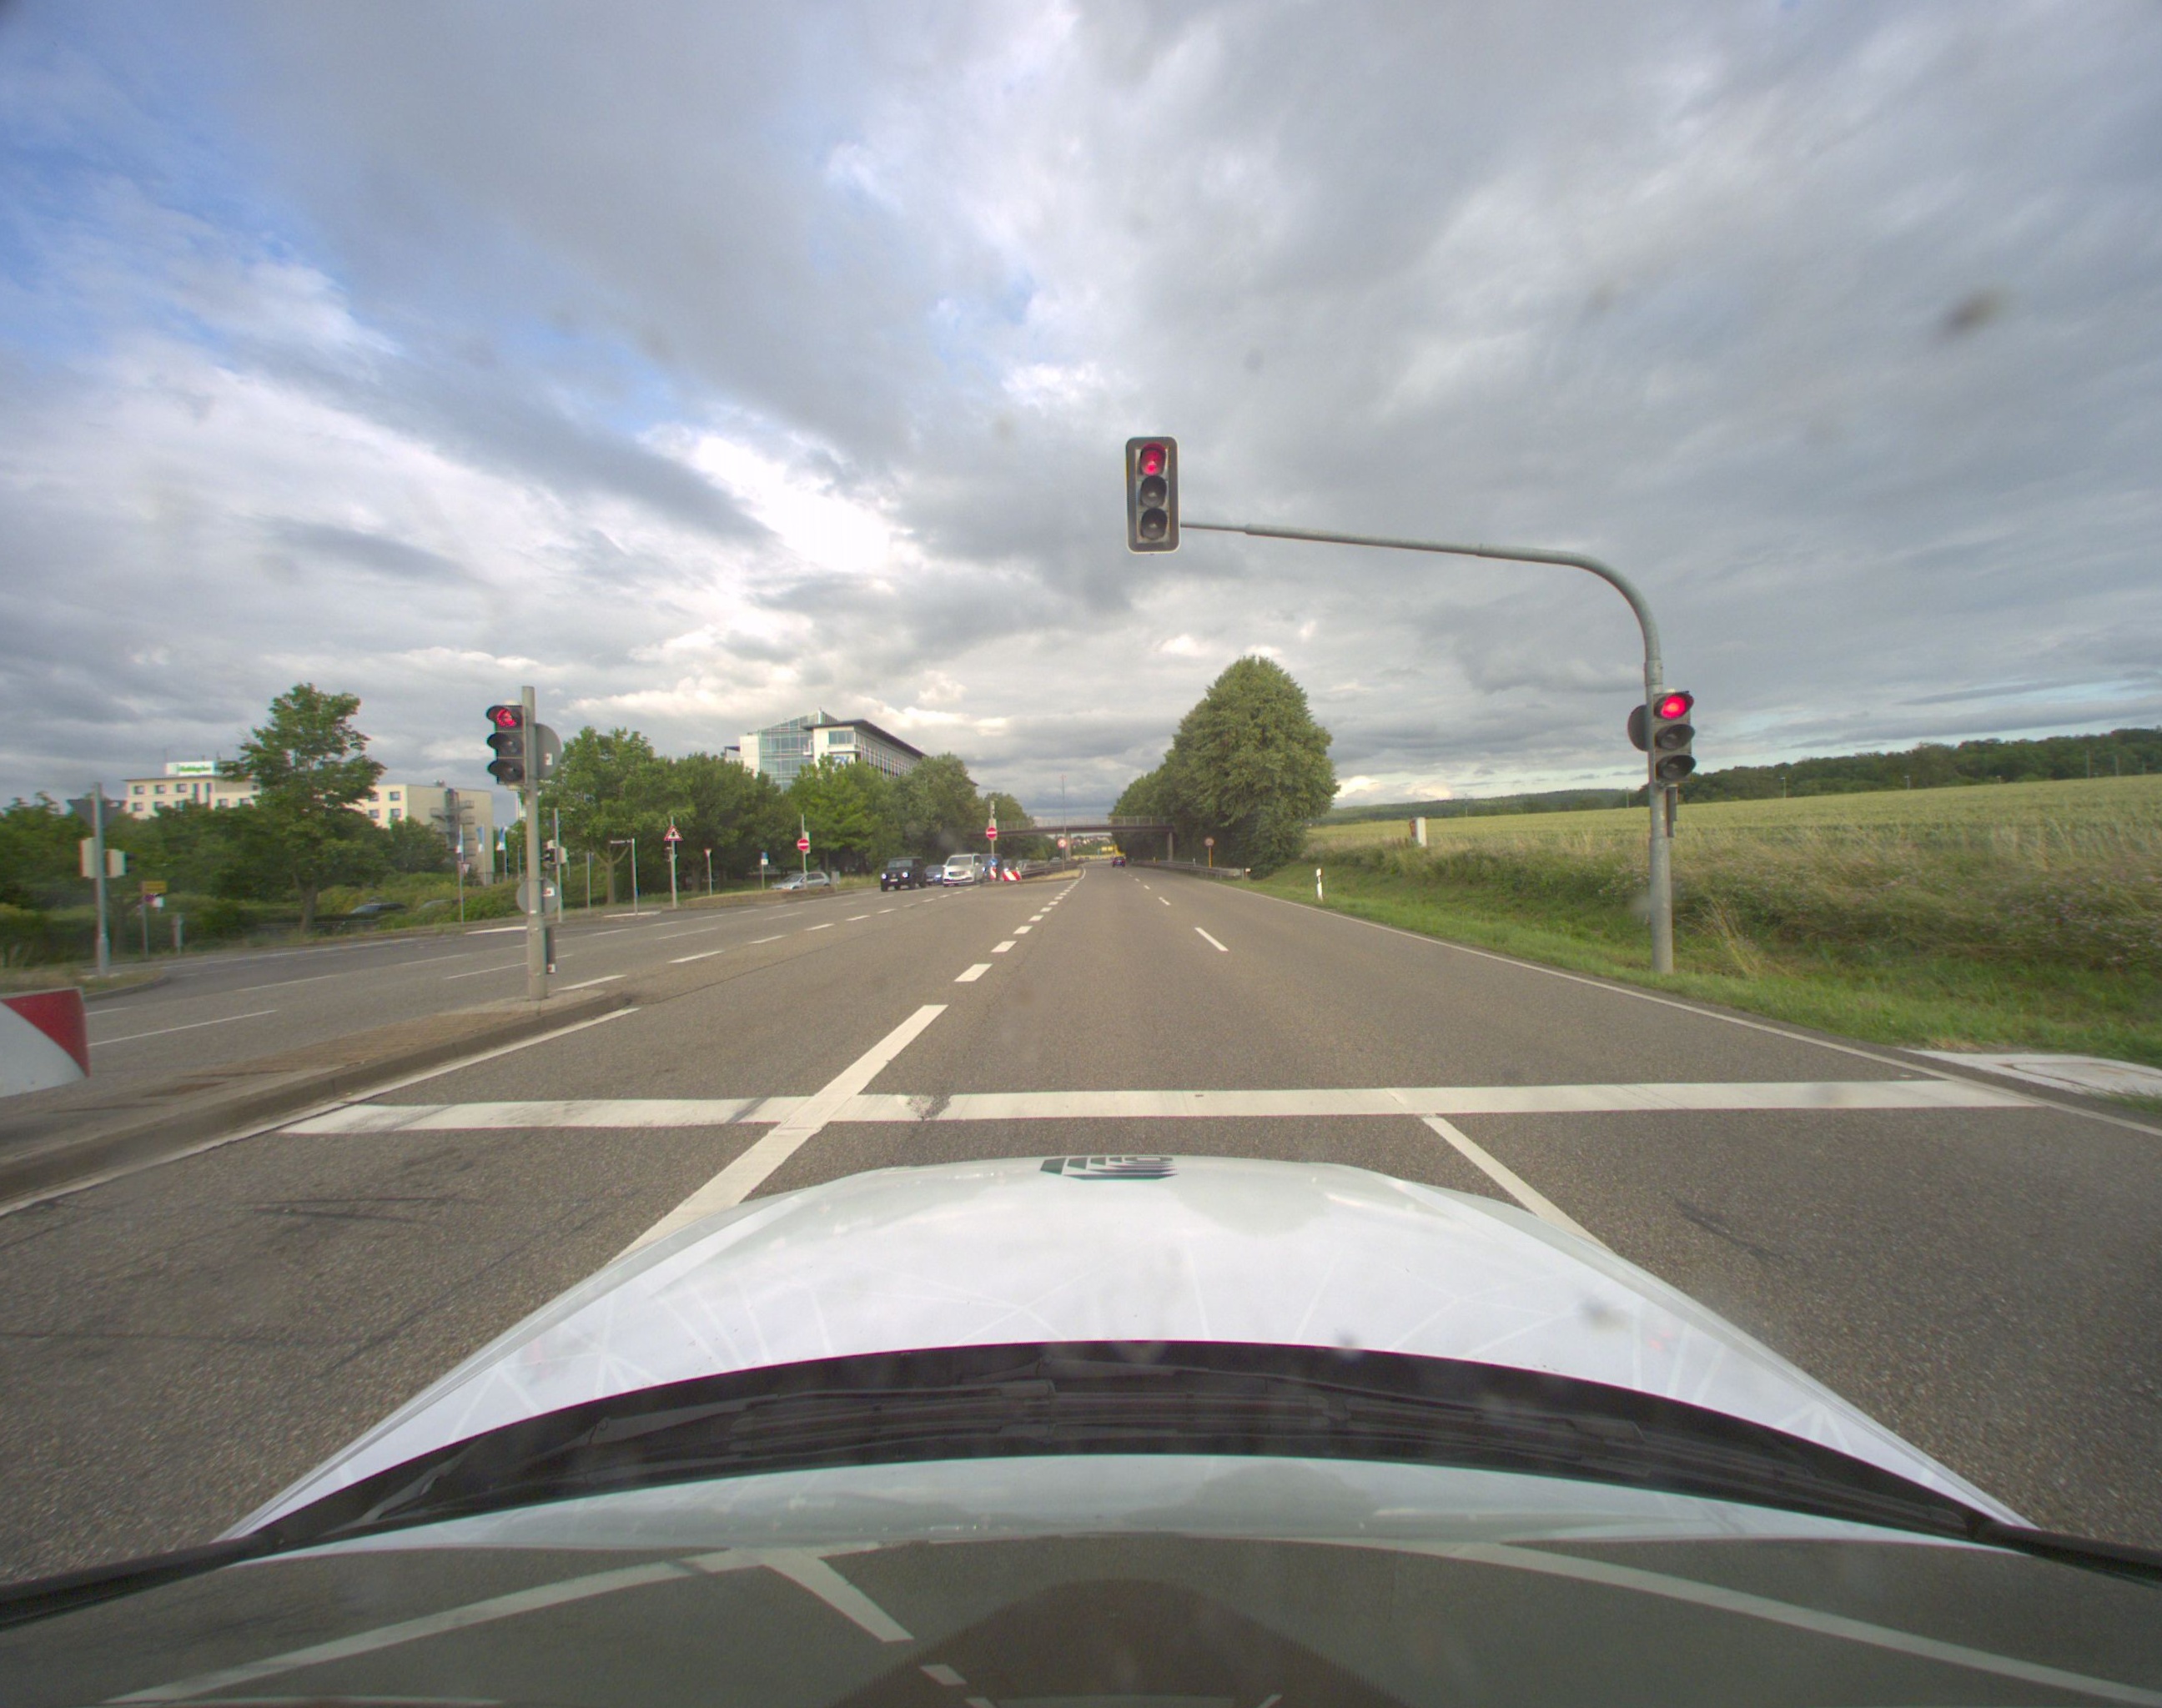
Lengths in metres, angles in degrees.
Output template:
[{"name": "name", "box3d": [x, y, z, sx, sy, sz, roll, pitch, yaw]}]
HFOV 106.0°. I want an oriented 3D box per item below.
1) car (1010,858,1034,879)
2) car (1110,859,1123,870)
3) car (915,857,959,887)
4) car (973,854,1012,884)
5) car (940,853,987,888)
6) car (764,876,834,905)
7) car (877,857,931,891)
[{"name": "car", "box3d": [-5.933, 1.441, 82.459, 2.076, 2.014, 5.216, 0, -1, 1]}, {"name": "car", "box3d": [5.347, 1.553, 121.832, 1.873, 1.552, 4.001, 0, -1, 1]}, {"name": "car", "box3d": [-10.032, 1.241, 57.217, 2.076, 2.014, 5.216, 0, -1, 1]}, {"name": "car", "box3d": [-6.191, 1.061, 57.473, 2.076, 2.014, 5.216, 0, -1, 1]}, {"name": "car", "box3d": [-7.107, 0.956, 49.754, 2.076, 2.014, 5.216, 0, -1, 1]}, {"name": "car", "box3d": [-17.240, 2.230, 49.944, 1.566, 1.342, 3.775, -5, 0, 31]}, {"name": "car", "box3d": [-10.728, 1.180, 49.728, 2.076, 2.014, 5.216, 0, -1, 1]}]
